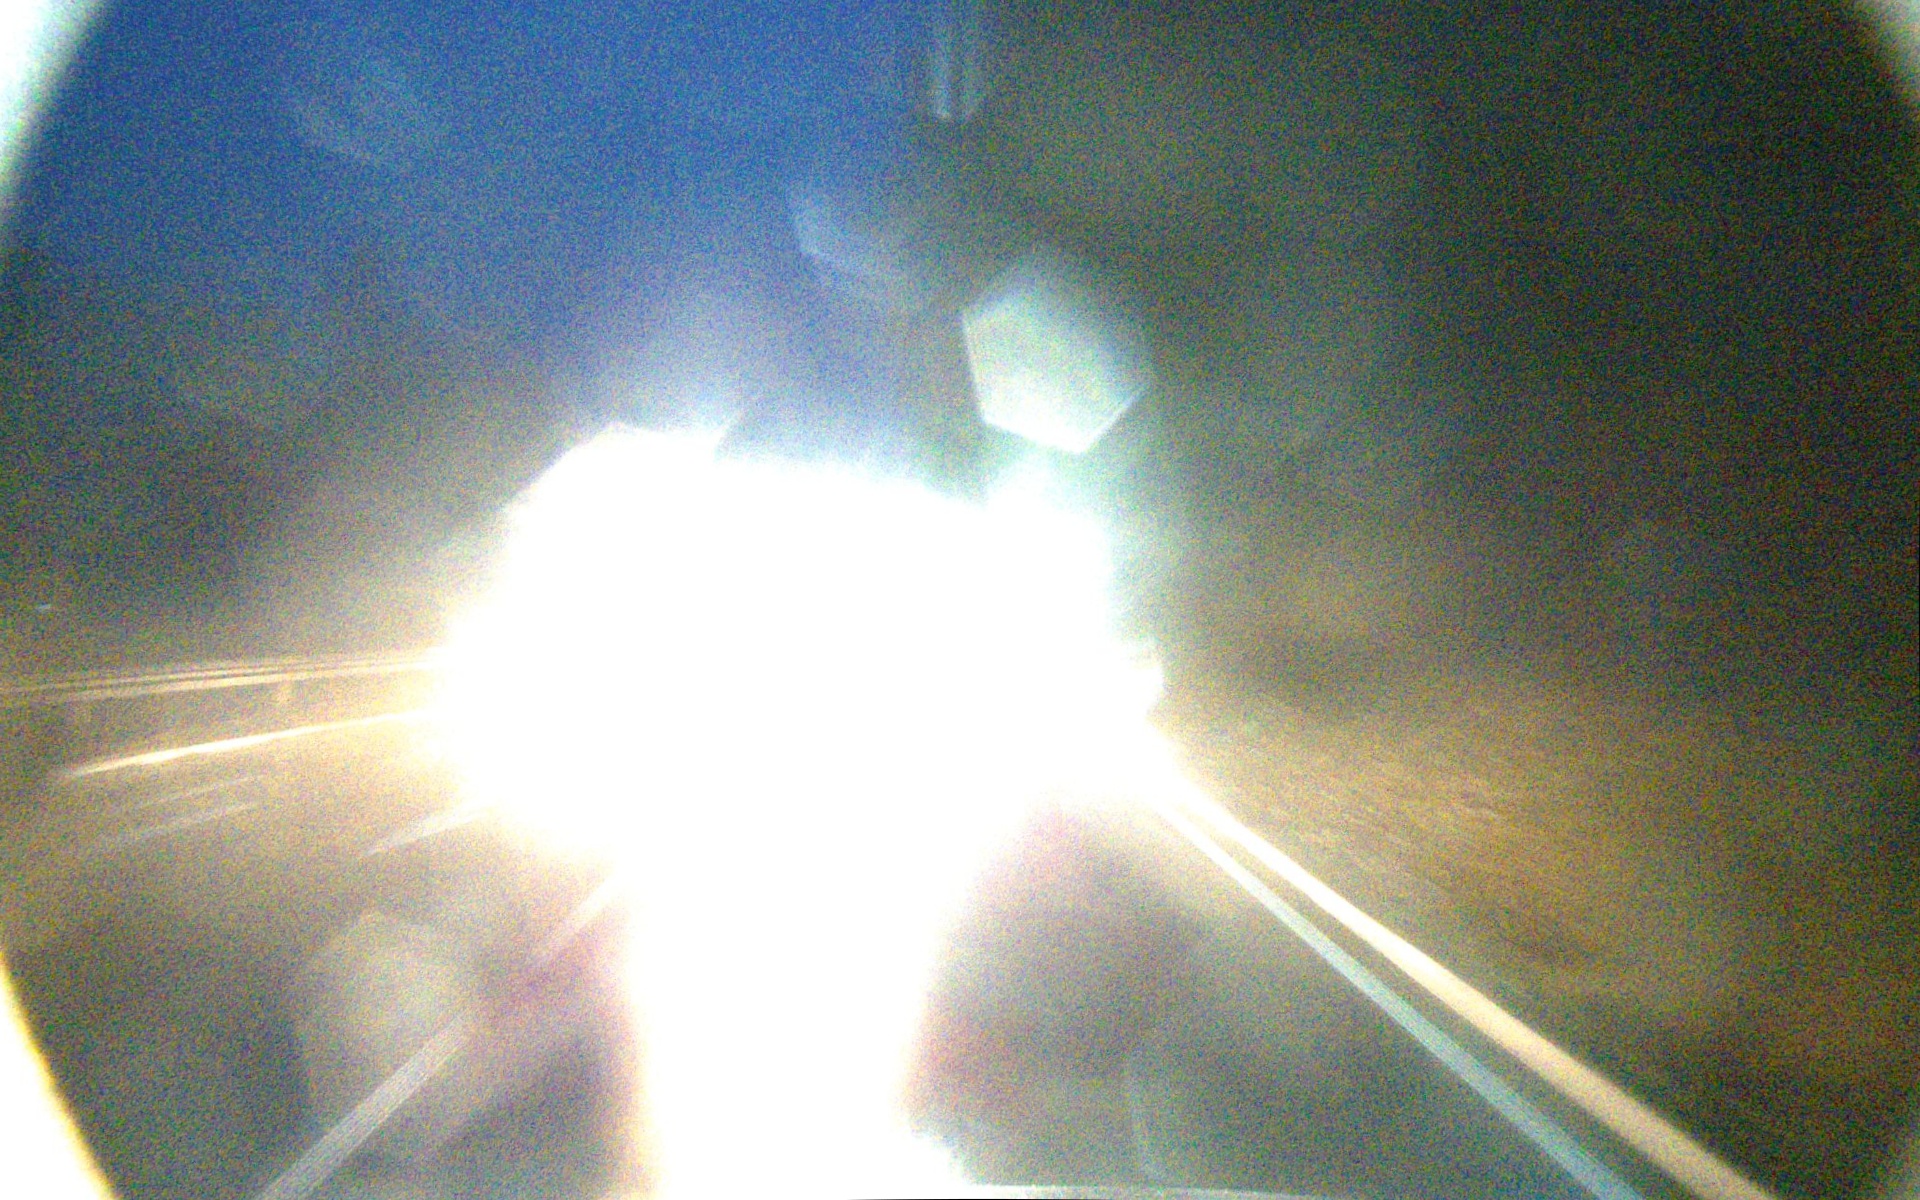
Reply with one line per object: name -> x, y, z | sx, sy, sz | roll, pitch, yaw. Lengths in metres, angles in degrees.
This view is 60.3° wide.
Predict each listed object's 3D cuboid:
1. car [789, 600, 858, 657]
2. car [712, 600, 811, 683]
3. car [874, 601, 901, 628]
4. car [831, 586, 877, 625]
car -> -4.405, 0.917, 53.809 | 1.850, 1.663, 4.389 | -4, -1, -1
car -> -3.935, 0.780, 33.354 | 1.666, 1.493, 4.039 | -1, 1, -3
car -> -5.378, 1.103, 122.897 | 1.743, 1.912, 3.998 | -4, -1, 0
car -> -4.938, 0.264, 77.193 | 1.999, 1.635, 3.996 | -4, -1, -3
